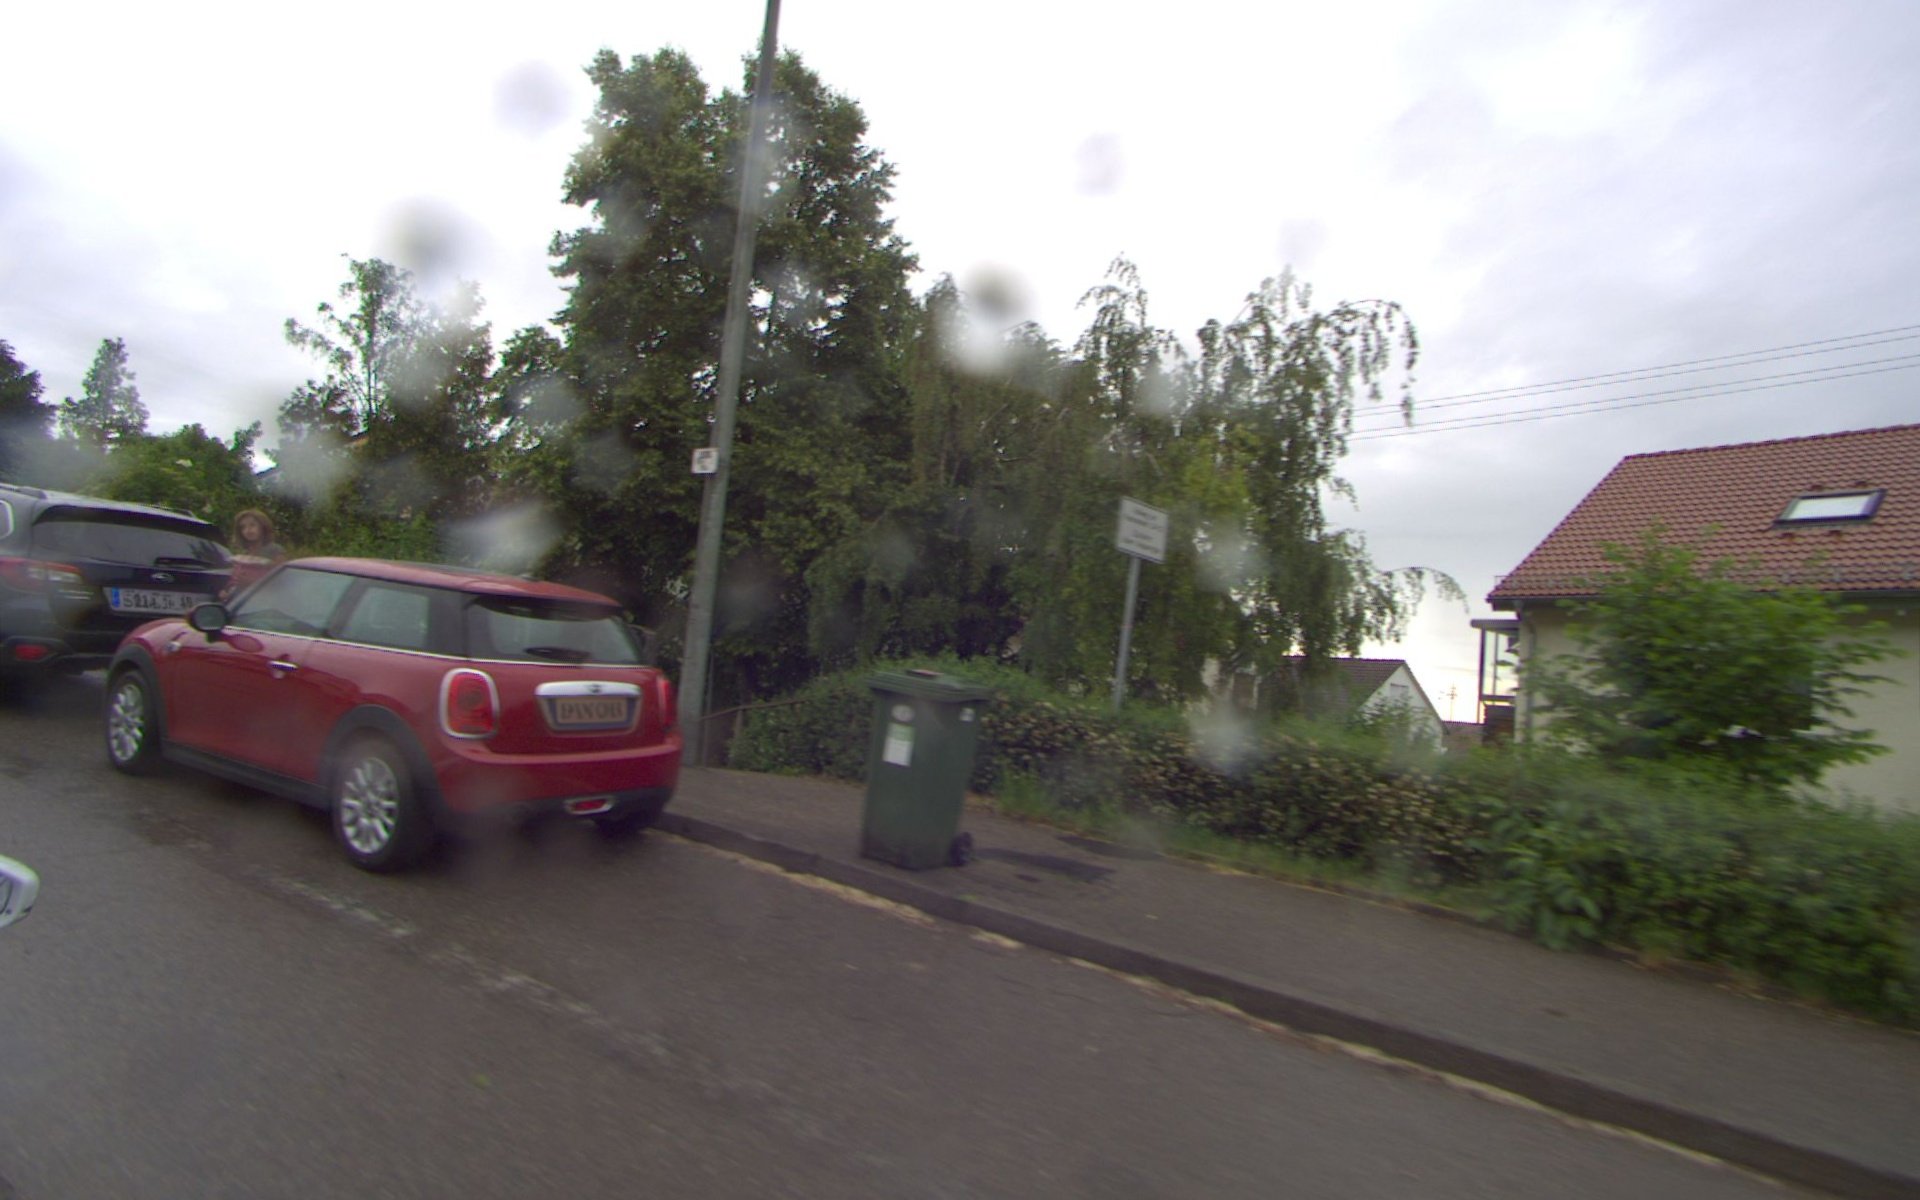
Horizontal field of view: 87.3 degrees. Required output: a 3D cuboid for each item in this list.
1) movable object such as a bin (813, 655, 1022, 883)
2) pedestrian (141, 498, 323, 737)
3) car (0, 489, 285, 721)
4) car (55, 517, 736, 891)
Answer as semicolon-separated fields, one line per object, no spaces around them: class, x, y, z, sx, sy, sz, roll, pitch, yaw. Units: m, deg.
movable object such as a bin;-0.240;0.942;5.842;0.835;1.106;0.714;7;-1;32
pedestrian;-5.446;0.140;7.545;0.695;1.654;0.718;7;-1;28
car;-7.988;-0.108;8.411;4.642;1.524;1.820;6;-2;28
car;-3.442;0.448;6.034;3.786;1.431;1.739;6;-2;29
